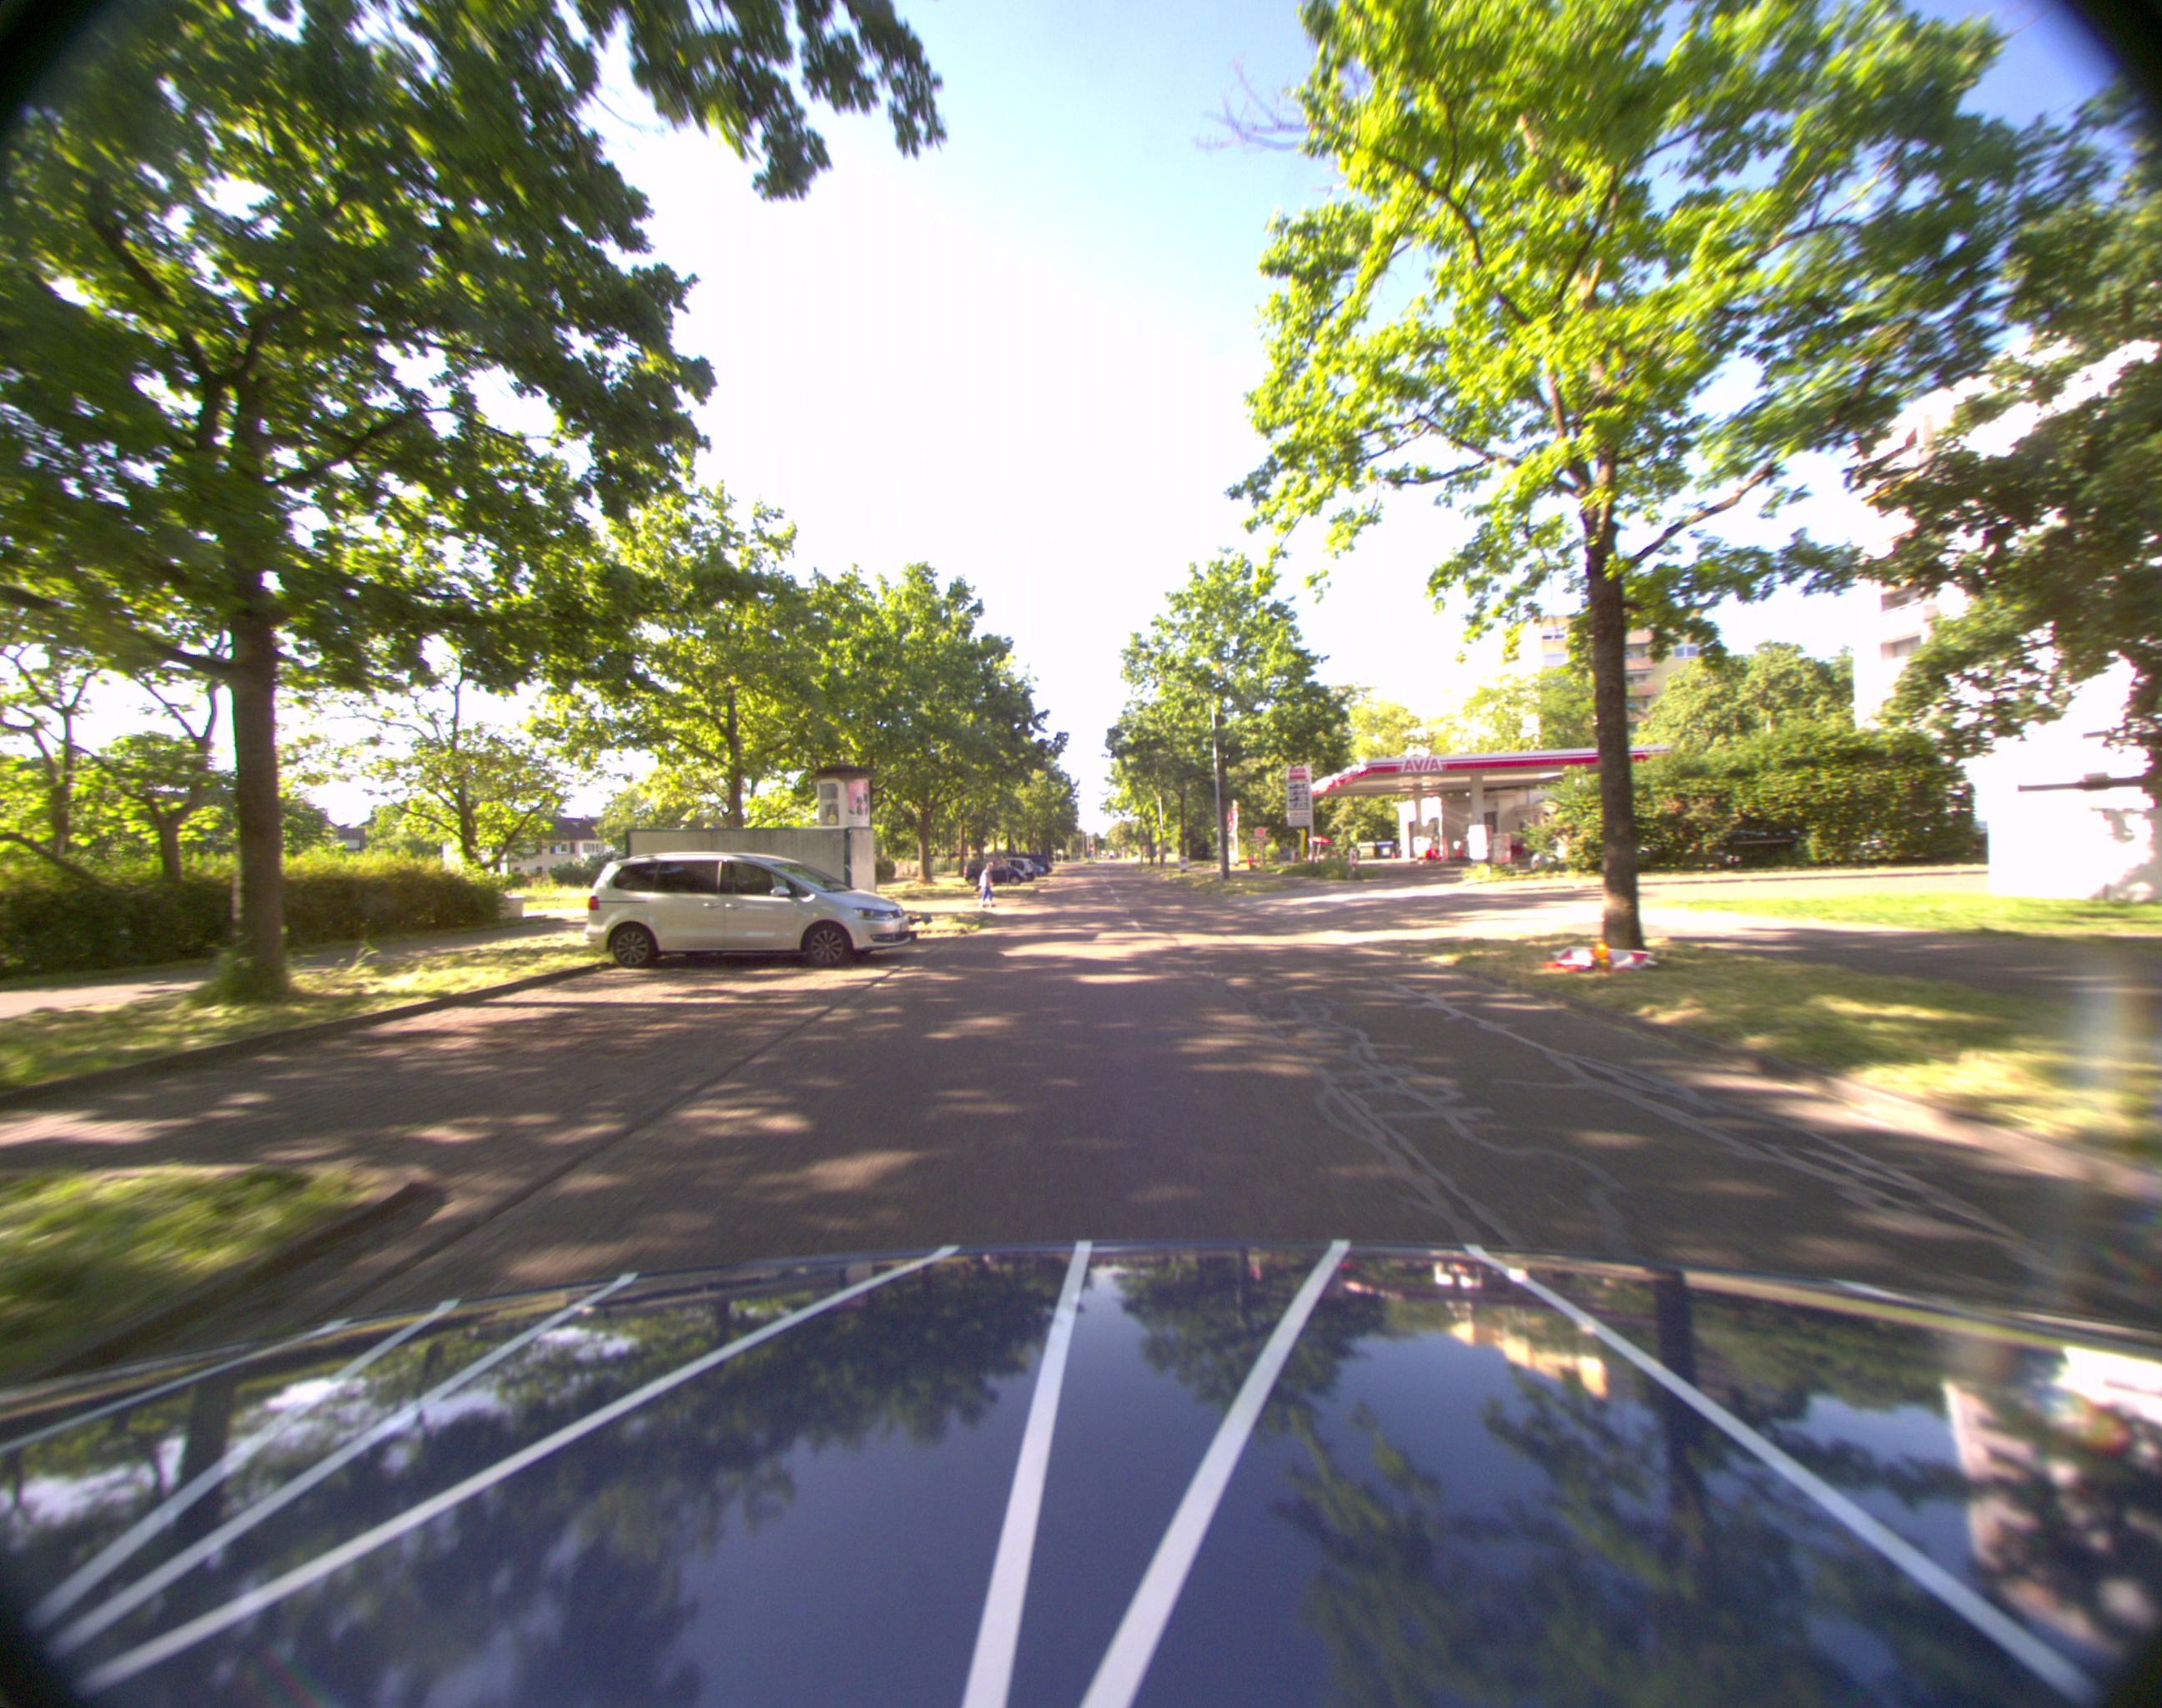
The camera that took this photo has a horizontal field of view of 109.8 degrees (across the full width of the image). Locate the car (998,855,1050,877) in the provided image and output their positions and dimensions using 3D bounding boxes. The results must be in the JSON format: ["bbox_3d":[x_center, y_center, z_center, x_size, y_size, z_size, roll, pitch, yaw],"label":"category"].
[{"bbox_3d":[-4.045,0.841,54.170,3.529,1.523,1.665,-1,1,2],"label":"car"}]

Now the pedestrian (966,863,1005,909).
[{"bbox_3d":[-3.209,1.062,25.615,0.941,1.491,0.887,-1,0,35],"label":"pedestrian"}]

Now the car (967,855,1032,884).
[{"bbox_3d":[-4.740,0.894,44.568,3.592,1.567,1.857,-1,1,0],"label":"car"}]

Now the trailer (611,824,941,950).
[{"bbox_3d":[-5.801,0.610,14.848,5.788,2.304,1.686,0,1,2],"label":"trailer"}]

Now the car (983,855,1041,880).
[{"bbox_3d":[-4.469,0.875,49.500,3.592,1.567,1.786,-1,1,2],"label":"car"}]

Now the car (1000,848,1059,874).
[{"bbox_3d":[-4.310,0.588,64.214,4.815,2.020,1.944,-1,1,0],"label":"car"}]

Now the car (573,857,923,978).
[{"bbox_3d":[-5.057,0.927,12.041,4.653,1.712,1.987,0,0,1],"label":"car"}]

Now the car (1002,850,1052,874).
[{"bbox_3d":[-4.369,0.646,61.973,4.019,1.826,1.799,-1,1,-2],"label":"car"}]
